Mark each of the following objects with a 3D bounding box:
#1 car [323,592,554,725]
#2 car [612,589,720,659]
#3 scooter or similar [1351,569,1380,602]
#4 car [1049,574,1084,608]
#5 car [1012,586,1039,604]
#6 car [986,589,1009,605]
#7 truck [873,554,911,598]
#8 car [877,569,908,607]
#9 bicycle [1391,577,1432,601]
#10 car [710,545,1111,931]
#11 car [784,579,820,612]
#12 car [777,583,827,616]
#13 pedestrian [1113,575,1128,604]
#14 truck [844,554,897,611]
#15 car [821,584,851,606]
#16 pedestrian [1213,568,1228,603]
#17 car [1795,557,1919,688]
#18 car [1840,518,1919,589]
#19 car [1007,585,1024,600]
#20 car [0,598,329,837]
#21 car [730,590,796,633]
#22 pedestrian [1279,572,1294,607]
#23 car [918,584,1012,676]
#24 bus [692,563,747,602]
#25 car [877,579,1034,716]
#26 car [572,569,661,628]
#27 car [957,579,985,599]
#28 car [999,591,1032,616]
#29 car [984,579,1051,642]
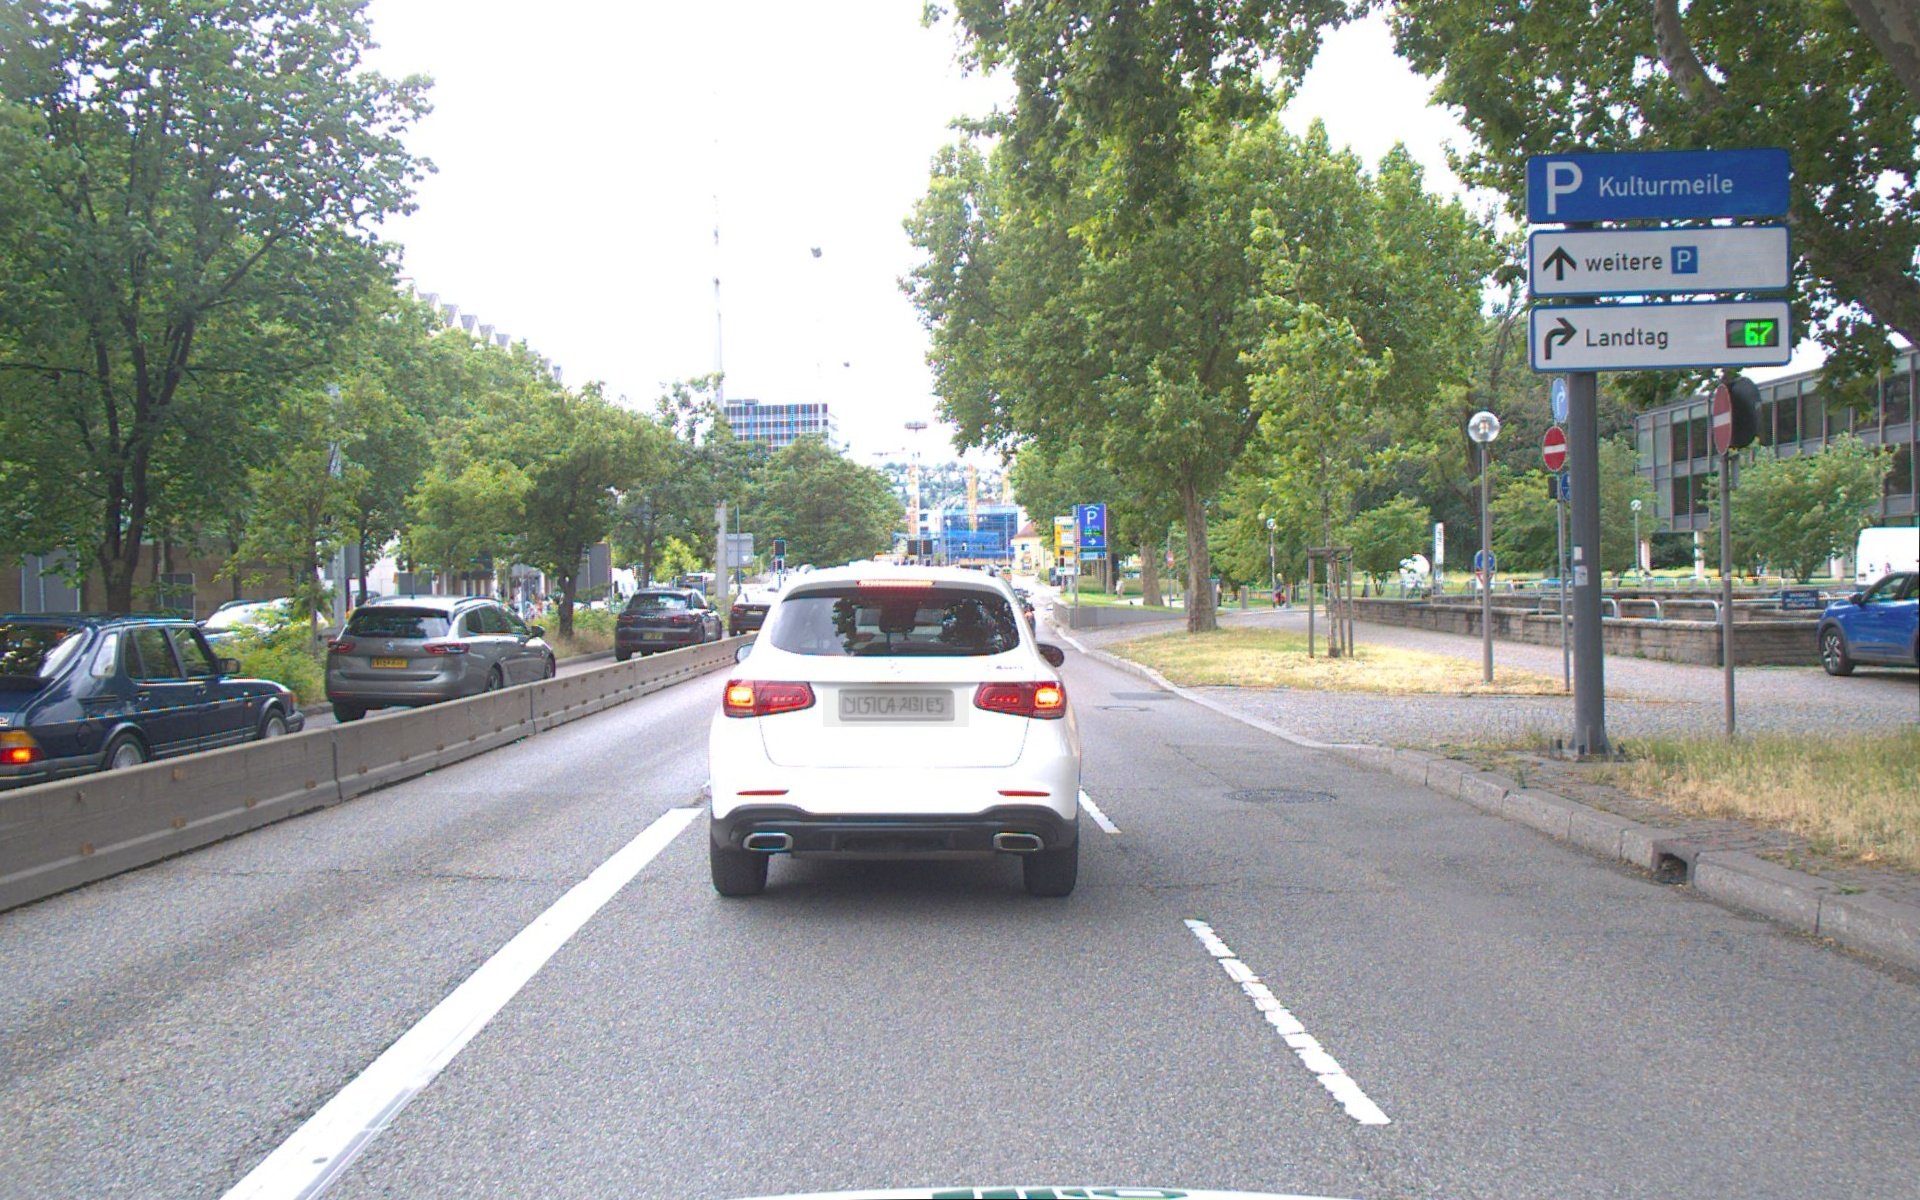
[{"bbox_3d":[-6.249,0.646,20.257,1.627,1.461,3.959,0,0,-1],"label":"car"},{"bbox_3d":[-6.590,0.504,37.428,1.740,1.445,4.000,-1,1,-1],"label":"car"},{"bbox_3d":[15.771,-0.553,64.323,0.622,1.267,2.226,1,0,2],"label":"scooter or similar"},{"bbox_3d":[6.577,-0.532,102.554,1.952,2.049,4.000,0,0,1],"label":"car"},{"bbox_3d":[4.854,-0.350,123.842,1.907,1.343,4.017,0,0,1],"label":"car"},{"bbox_3d":[3.270,-0.269,145.307,1.906,1.343,4.018,0,0,3],"label":"car"},{"bbox_3d":[-4.919,-1.711,120.728,2.637,3.044,5.636,1,0,-1],"label":"truck"},{"bbox_3d":[-4.603,-0.841,113.783,1.953,2.518,3.999,-1,0,-1],"label":"car"},{"bbox_3d":[19.338,-0.448,70.842,0.934,0.992,2.786,1,0,-1],"label":"bicycle"},{"bbox_3d":[-0.427,0.578,9.560,1.753,1.653,4.432,-1,1,-6],"label":"car"},{"bbox_3d":[-7.663,-0.234,80.414,1.626,1.539,3.545,-1,0,-4],"label":"car"},{"bbox_3d":[-6.640,-0.039,69.691,1.624,1.343,3.548,0,0,2],"label":"car"},{"bbox_3d":[11.403,-0.737,117.606,0.746,2.049,0.696,-1,0,35],"label":"pedestrian"},{"bbox_3d":[-4.728,-0.925,88.490,2.568,2.911,7.077,0,0,-1],"label":"truck"},{"bbox_3d":[-7.899,-0.316,105.744,1.625,1.343,3.547,0,0,1],"label":"car"},{"bbox_3d":[13.498,-0.758,85.639,0.743,1.755,0.699,-1,0,7],"label":"pedestrian"},{"bbox_3d":[13.185,0.259,22.495,1.724,1.578,4.028,-1,3,2],"label":"car"},{"bbox_3d":[32.756,-1.550,54.750,5.981,2.300,2.402,-1,0,1],"label":"car"},{"bbox_3d":[6.277,-0.840,187.665,1.722,1.698,4.168,-1,1,0],"label":"car"},{"bbox_3d":[-6.327,0.719,12.196,1.644,1.390,4.542,-1,1,-1],"label":"car"},{"bbox_3d":[-6.486,0.360,54.782,1.625,1.343,3.548,1,0,1],"label":"car"},{"bbox_3d":[15.561,-0.486,78.844,0.625,1.639,0.663,-1,0,7],"label":"pedestrian"},{"bbox_3d":[0.044,0.541,32.096,1.626,1.668,3.545,0,0,-3],"label":"car"},{"bbox_3d":[-21.280,-1.523,147.334,3.595,3.261,14.263,-1,1,-4],"label":"bus"},{"bbox_3d":[-0.147,0.558,21.754,1.761,1.636,3.751,0,0,-5],"label":"car"},{"bbox_3d":[-12.350,-0.082,59.796,2.072,2.003,5.578,-1,1,-1],"label":"car"},{"bbox_3d":[0.773,-0.781,114.160,1.907,1.343,4.017,0,0,1],"label":"car"},{"bbox_3d":[3.355,0.201,100.662,1.907,1.453,4.017,0,0,1],"label":"car"},{"bbox_3d":[1.683,0.295,49.770,1.788,1.783,3.999,-1,1,-1],"label":"car"}]
